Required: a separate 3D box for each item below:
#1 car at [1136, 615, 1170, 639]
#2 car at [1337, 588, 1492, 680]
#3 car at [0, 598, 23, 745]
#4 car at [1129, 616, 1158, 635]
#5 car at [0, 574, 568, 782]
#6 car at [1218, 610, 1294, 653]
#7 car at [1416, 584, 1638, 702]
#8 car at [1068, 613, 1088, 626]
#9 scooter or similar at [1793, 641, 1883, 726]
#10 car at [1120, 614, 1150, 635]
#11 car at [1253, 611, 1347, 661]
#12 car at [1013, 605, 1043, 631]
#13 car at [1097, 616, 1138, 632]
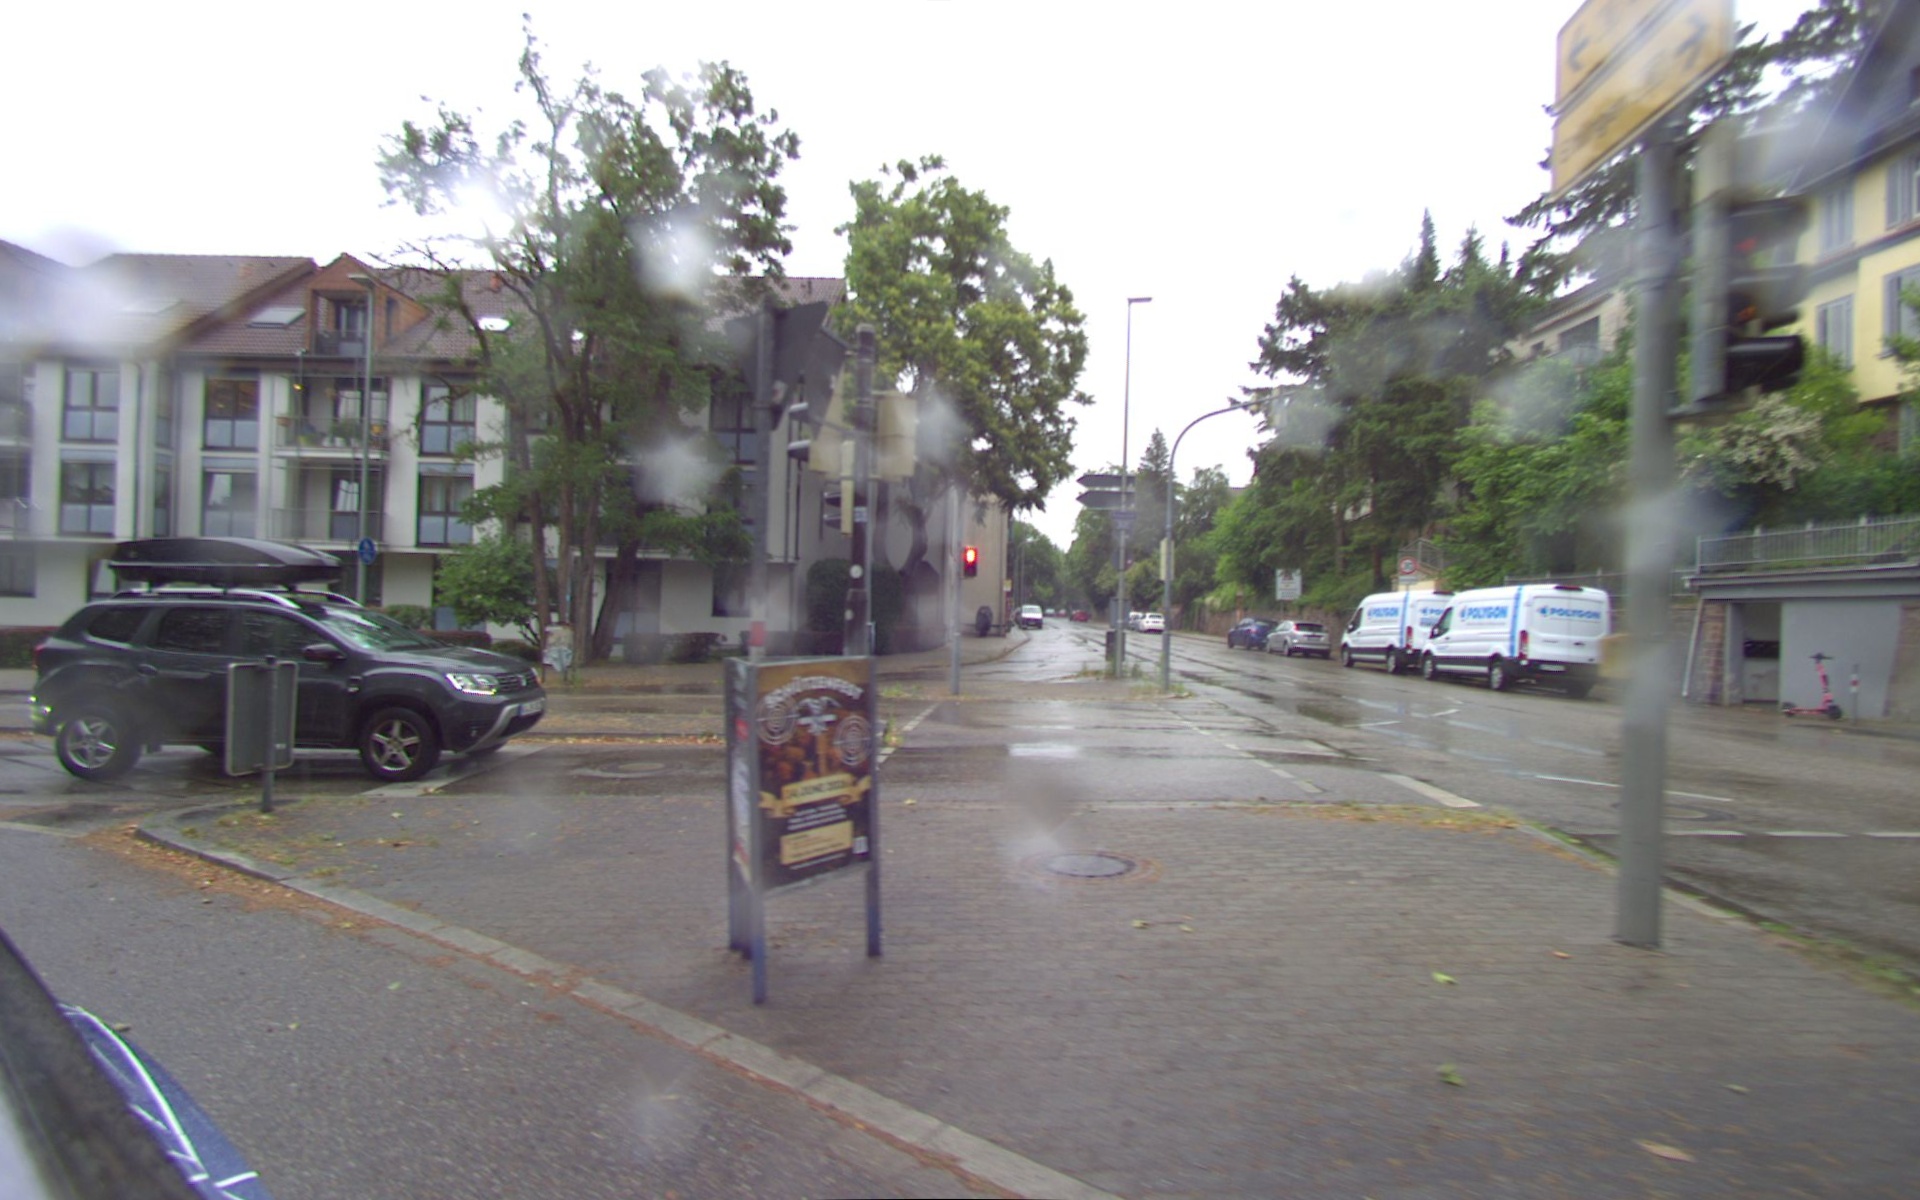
[{"bbox_3d":[14.380,2.046,75.542,1.794,1.658,3.998,2,-2,2],"label":"car"},{"bbox_3d":[13.846,0.967,31.292,2.284,2.513,5.579,2,0,1],"label":"car"},{"bbox_3d":[-11.892,0.763,9.429,4.592,1.467,1.838,-1,2,0],"label":"car"},{"bbox_3d":[14.561,2.009,80.488,1.736,1.409,3.997,2,-2,2],"label":"car"},{"bbox_3d":[-6.278,0.652,9.479,4.534,1.724,1.767,0,0,-1],"label":"car"},{"bbox_3d":[14.242,1.479,48.996,2.081,1.867,5.579,2,0,1],"label":"car"},{"bbox_3d":[13.613,0.936,24.854,2.284,2.513,5.677,2,0,1],"label":"car"},{"bbox_3d":[15.460,2.569,132.929,1.900,1.664,3.981,2,-2,-2],"label":"car"},{"bbox_3d":[14.635,1.367,16.882,0.455,1.345,1.095,4,-3,-42],"label":"scooter or similar"},{"bbox_3d":[14.805,2.078,86.000,1.902,1.667,3.998,2,-2,2],"label":"car"},{"bbox_3d":[14.111,1.431,42.399,2.081,1.867,5.579,2,0,1],"label":"car"},{"bbox_3d":[5.526,1.488,82.437,2.054,1.973,4.448,2,-2,0],"label":"car"},{"bbox_3d":[15.039,2.308,96.572,3.839,1.453,1.811,1,-2,10],"label":"car"}]
